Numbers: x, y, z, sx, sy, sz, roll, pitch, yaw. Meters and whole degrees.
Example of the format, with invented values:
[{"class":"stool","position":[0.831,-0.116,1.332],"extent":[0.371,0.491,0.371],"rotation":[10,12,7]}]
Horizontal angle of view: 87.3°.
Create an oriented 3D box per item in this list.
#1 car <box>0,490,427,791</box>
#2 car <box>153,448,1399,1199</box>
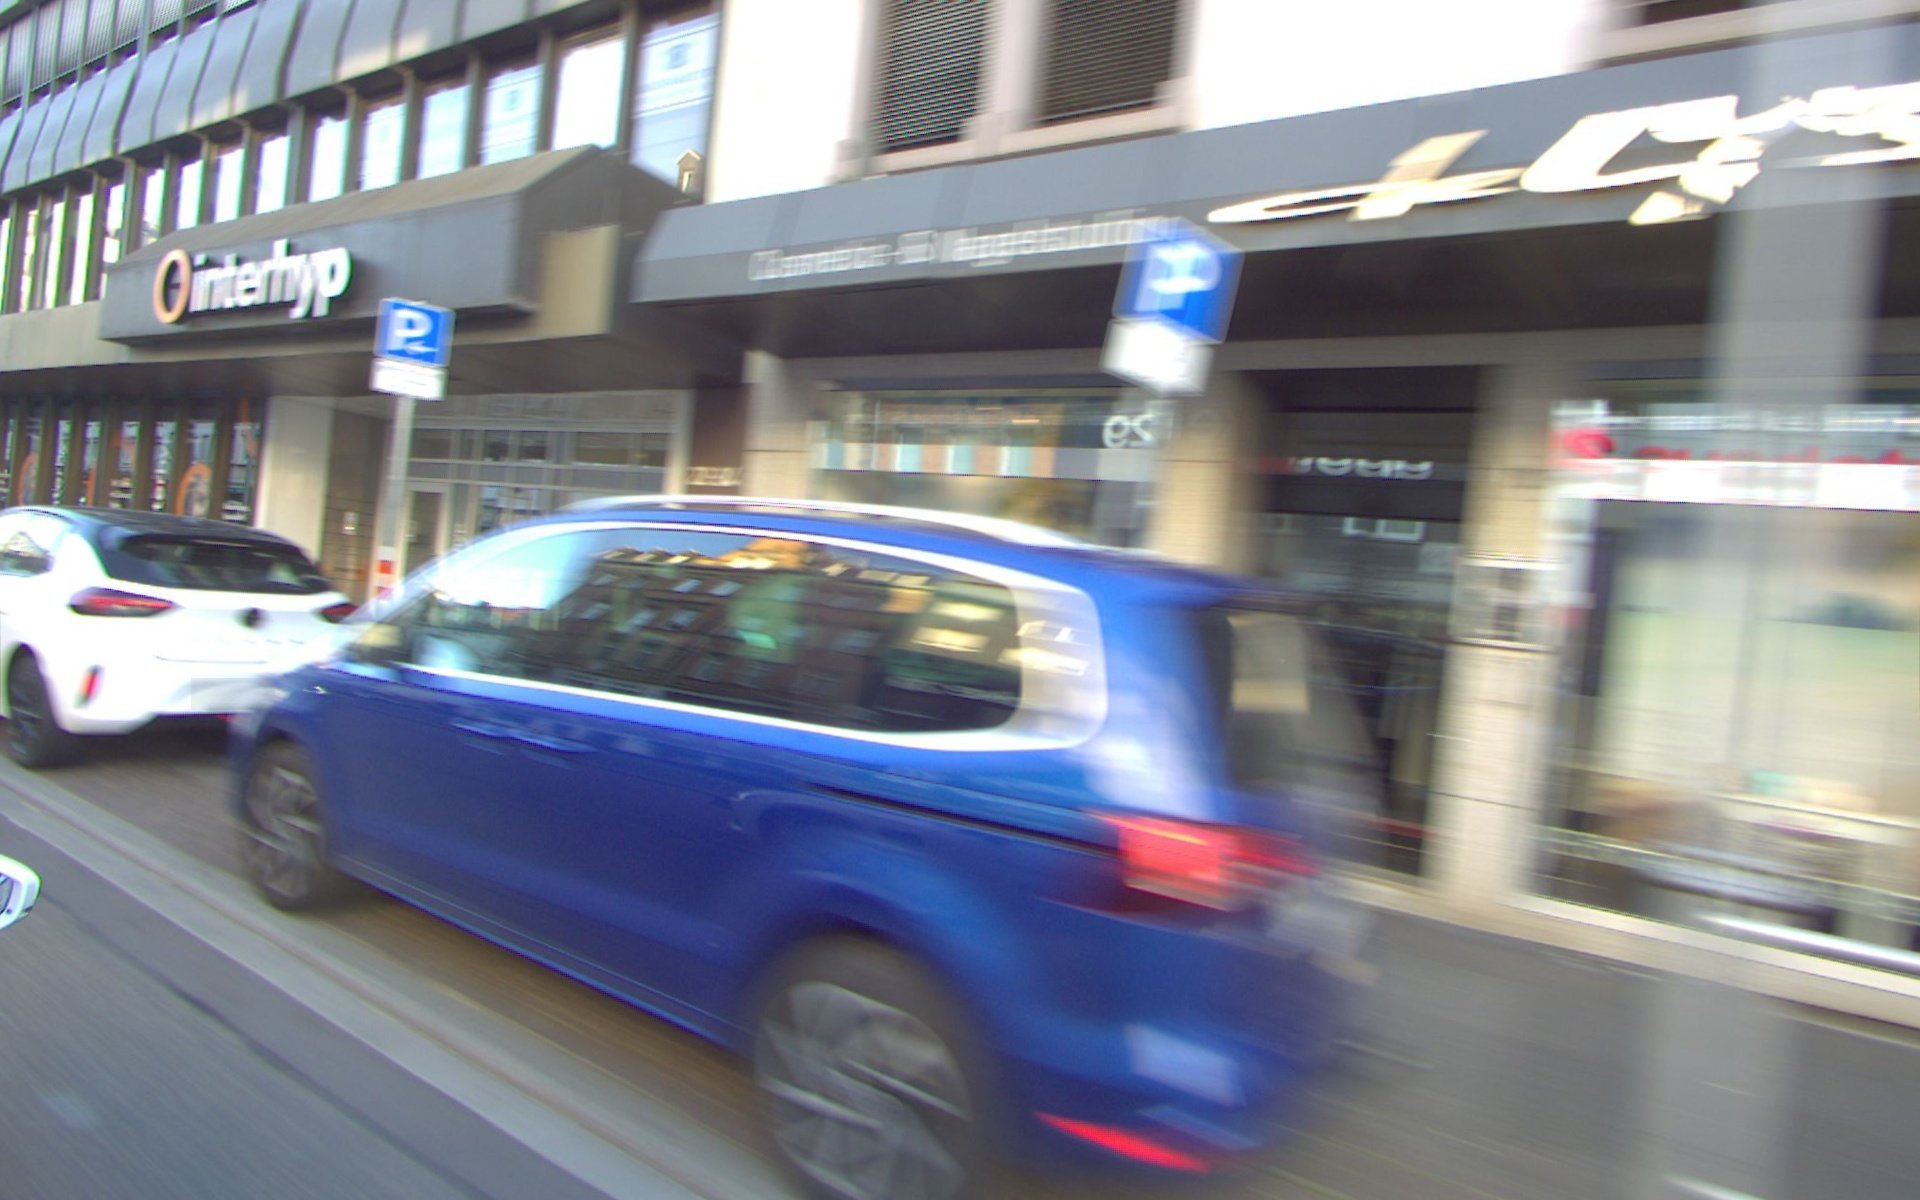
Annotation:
[{"class":"car","position":[-5.639,0.099,6.835],"extent":[3.822,1.451,1.797],"rotation":[7,1,32]},{"class":"car","position":[-0.945,0.488,3.924],"extent":[4.500,1.750,1.994],"rotation":[6,1,32]}]
